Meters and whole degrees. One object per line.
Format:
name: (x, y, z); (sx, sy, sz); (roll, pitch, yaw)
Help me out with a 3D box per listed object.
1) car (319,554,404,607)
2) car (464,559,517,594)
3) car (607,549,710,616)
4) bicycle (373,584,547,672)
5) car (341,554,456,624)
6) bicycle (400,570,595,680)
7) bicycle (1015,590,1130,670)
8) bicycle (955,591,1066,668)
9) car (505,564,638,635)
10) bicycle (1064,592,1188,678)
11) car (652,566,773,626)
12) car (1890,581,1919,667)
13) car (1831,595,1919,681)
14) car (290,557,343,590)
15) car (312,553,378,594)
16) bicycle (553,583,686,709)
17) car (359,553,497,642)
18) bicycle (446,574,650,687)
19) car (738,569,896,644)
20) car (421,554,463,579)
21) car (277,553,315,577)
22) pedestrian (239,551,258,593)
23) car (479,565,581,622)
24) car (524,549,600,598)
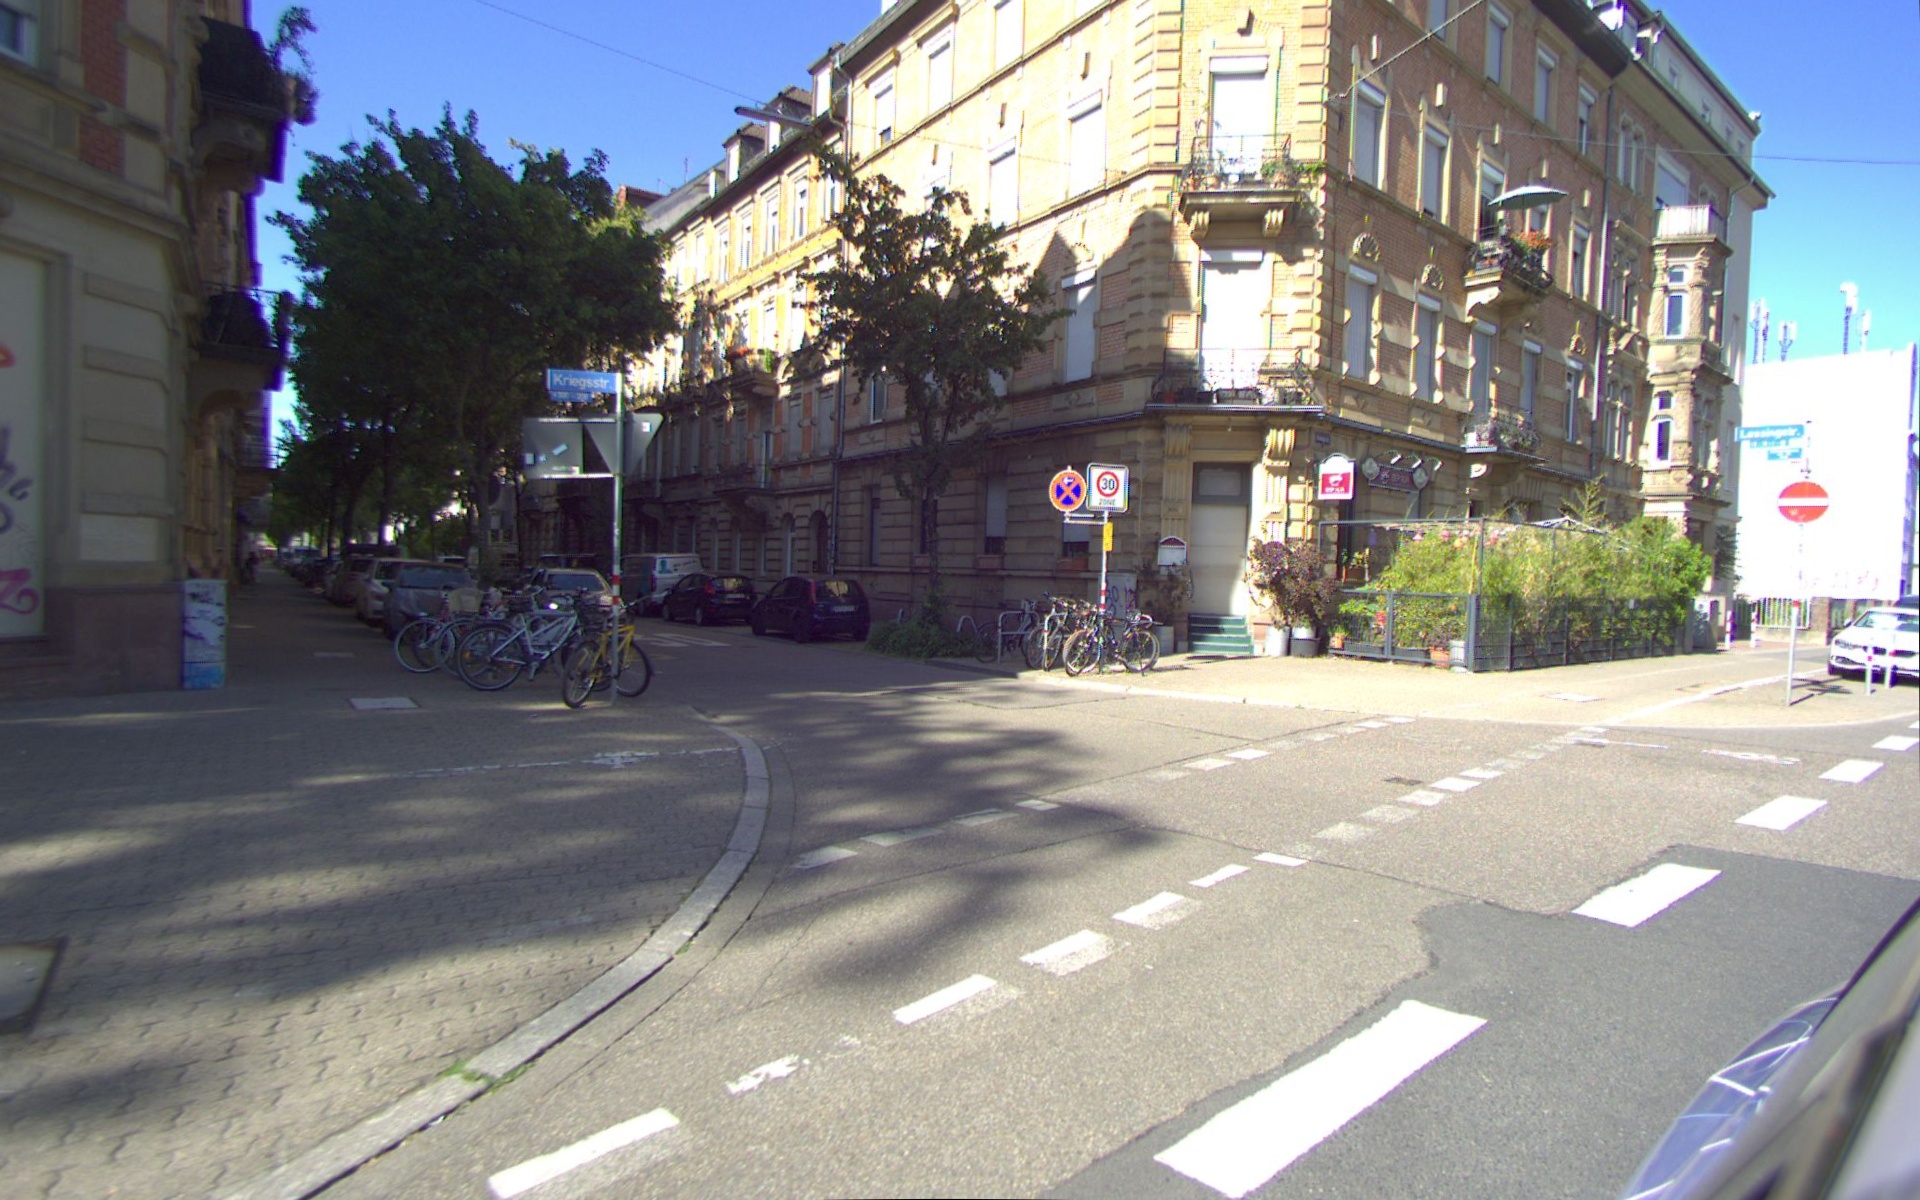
car: (-18.478, -0.627, 31.157); (2.008, 1.434, 3.940); (1, 3, -34)
car: (-24.653, -1.261, 53.077); (1.918, 1.631, 3.940); (1, 3, -34)
car: (-9.679, -0.598, 32.274); (2.008, 1.944, 3.940); (1, 3, -34)
bicycle: (-6.520, 0.347, 13.252); (1.980, 1.068, 0.585); (0, 2, -34)
car: (-13.336, -0.292, 23.928); (2.008, 1.434, 3.940); (1, 3, -34)
bicycle: (-5.511, 0.314, 12.157); (0.633, 1.200, 1.986); (3, 0, 44)
bicycle: (1.793, 0.433, 15.927); (1.984, 1.148, 0.584); (-1, 3, -42)
bicycle: (0.865, 0.454, 16.816); (1.984, 1.148, 0.584); (-2, 4, -41)
car: (-9.426, -0.074, 24.321); (2.008, 1.434, 4.424); (1, 3, -34)
bicycle: (2.512, 0.483, 15.151); (1.984, 1.148, 0.735); (-2, 3, -41)
car: (-6.997, -0.151, 28.369); (2.008, 1.434, 3.940); (1, 3, -34)
car: (22.899, 0.578, 23.306); (3.498, 1.896, 1.693); (1, 2, -40)
car: (18.774, 0.737, 19.855); (4.033, 1.458, 1.847); (1, 4, -40)
car: (-30.660, -1.278, 48.184); (2.008, 1.434, 3.940); (1, 3, -34)
car: (-24.241, -1.068, 39.860); (2.008, 1.434, 3.940); (1, 3, -34)
bicycle: (-3.476, 0.430, 10.511); (0.574, 1.148, 2.018); (3, 0, 2)
car: (-10.769, -0.113, 20.355); (2.008, 1.543, 3.940); (1, 3, -34)
bicycle: (-4.557, 0.353, 11.261); (1.979, 1.149, 0.585); (4, 0, -31)
car: (-3.355, 0.096, 23.119); (2.008, 1.434, 3.940); (1, 3, -34)
car: (-33.535, -2.172, 65.414); (1.934, 1.434, 3.940); (1, 3, -34)
car: (-43.909, -2.348, 66.908); (2.008, 1.434, 3.940); (1, 3, -34)
pedestrian: (-32.511, -1.259, 46.233); (0.680, 1.917, 0.767); (0, 0, -33)
car: (-12.698, -0.222, 29.735); (2.008, 1.434, 3.940); (1, 3, -34)
car: (-16.008, -1.084, 40.613); (2.008, 1.764, 3.940); (1, 3, -34)
